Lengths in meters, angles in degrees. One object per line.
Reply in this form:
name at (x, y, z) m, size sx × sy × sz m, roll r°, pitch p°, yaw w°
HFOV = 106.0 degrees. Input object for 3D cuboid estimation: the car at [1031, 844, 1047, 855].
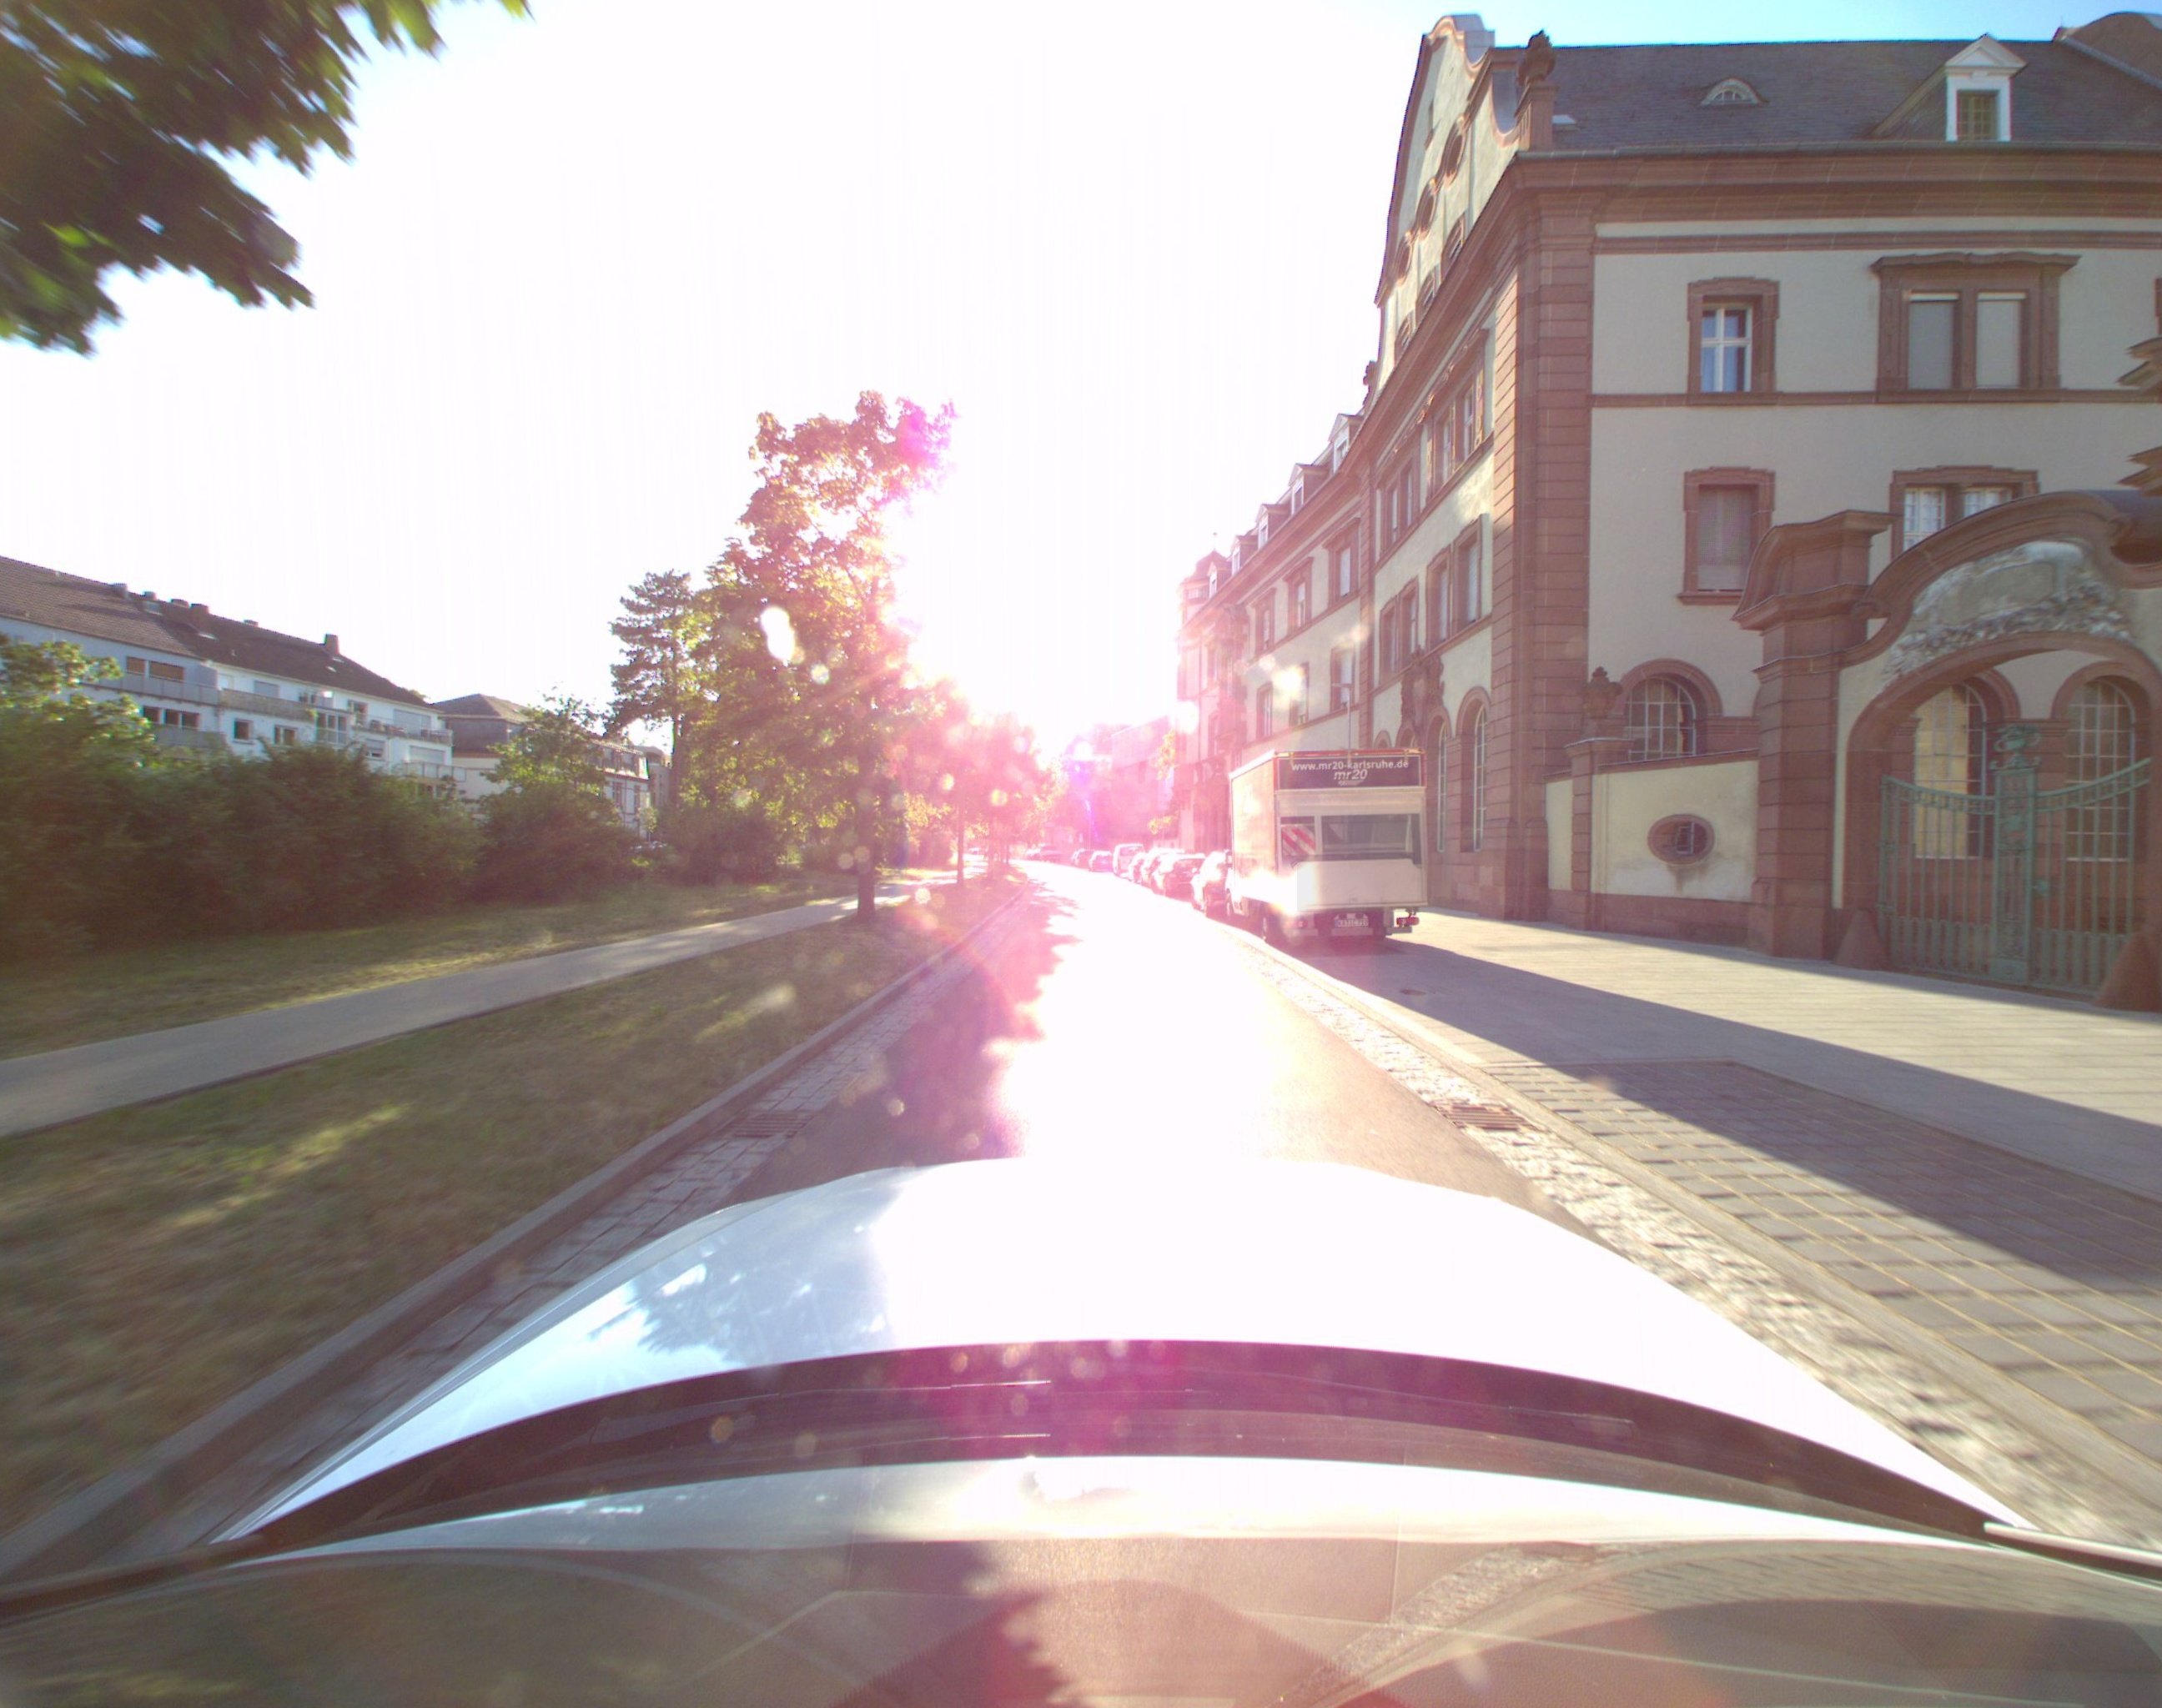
car at (-5.776, -0.633, 112.792) m, size 1.692 × 1.440 × 3.536 m, roll 0°, pitch 0°, yaw -12°

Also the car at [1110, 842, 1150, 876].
car at (2.989, 0.305, 50.948) m, size 1.988 × 1.966 × 4.846 m, roll -3°, pitch 0°, yaw -2°

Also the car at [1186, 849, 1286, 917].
car at (3.812, 0.648, 20.772) m, size 1.762 × 1.530 × 4.573 m, roll -1°, pitch 0°, yaw 1°

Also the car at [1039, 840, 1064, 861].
car at (-3.769, -0.477, 101.738) m, size 2.212 × 2.530 × 6.126 m, roll -1°, pitch 1°, yaw -10°

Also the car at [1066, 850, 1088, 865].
car at (-0.400, 0.302, 79.101) m, size 1.722 × 1.421 × 3.897 m, roll 0°, pitch 1°, yaw -7°

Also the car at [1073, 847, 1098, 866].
car at (0.364, 0.199, 73.115) m, size 1.723 × 1.669 × 4.102 m, roll -1°, pitch 1°, yaw -8°

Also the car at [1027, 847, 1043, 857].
car at (-6.696, -0.315, 117.521) m, size 1.692 × 1.440 × 4.087 m, roll 0°, pitch 1°, yaw -12°

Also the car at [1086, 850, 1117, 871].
car at (1.518, 0.475, 62.860) m, size 1.746 × 1.466 × 4.467 m, roll 1°, pitch 0°, yaw -7°

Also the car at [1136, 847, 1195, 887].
car at (3.578, 0.522, 35.228) m, size 1.812 × 1.602 × 4.186 m, roll -1°, pitch 0°, yaw -4°

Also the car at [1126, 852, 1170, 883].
car at (3.247, 0.612, 40.233) m, size 1.675 × 1.403 × 4.195 m, roll -1°, pitch 0°, yaw -3°

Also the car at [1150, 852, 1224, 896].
car at (3.760, 0.654, 29.623) m, size 1.867 × 1.436 × 4.517 m, roll -1°, pitch 0°, yaw -3°

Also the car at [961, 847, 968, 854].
car at (-34.371, -1.035, 239.786) m, size 1.794 × 1.999 × 3.986 m, roll 1°, pitch 0°, yaw -10°

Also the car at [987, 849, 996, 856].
car at (-19.384, -0.367, 175.657) m, size 1.792 × 1.510 × 3.989 m, roll 1°, pitch 0°, yaw -8°

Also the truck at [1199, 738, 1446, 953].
truck at (4.003, -0.149, 15.019) m, size 2.616 × 3.120 × 6.085 m, roll -1°, pitch 0°, yaw -1°
